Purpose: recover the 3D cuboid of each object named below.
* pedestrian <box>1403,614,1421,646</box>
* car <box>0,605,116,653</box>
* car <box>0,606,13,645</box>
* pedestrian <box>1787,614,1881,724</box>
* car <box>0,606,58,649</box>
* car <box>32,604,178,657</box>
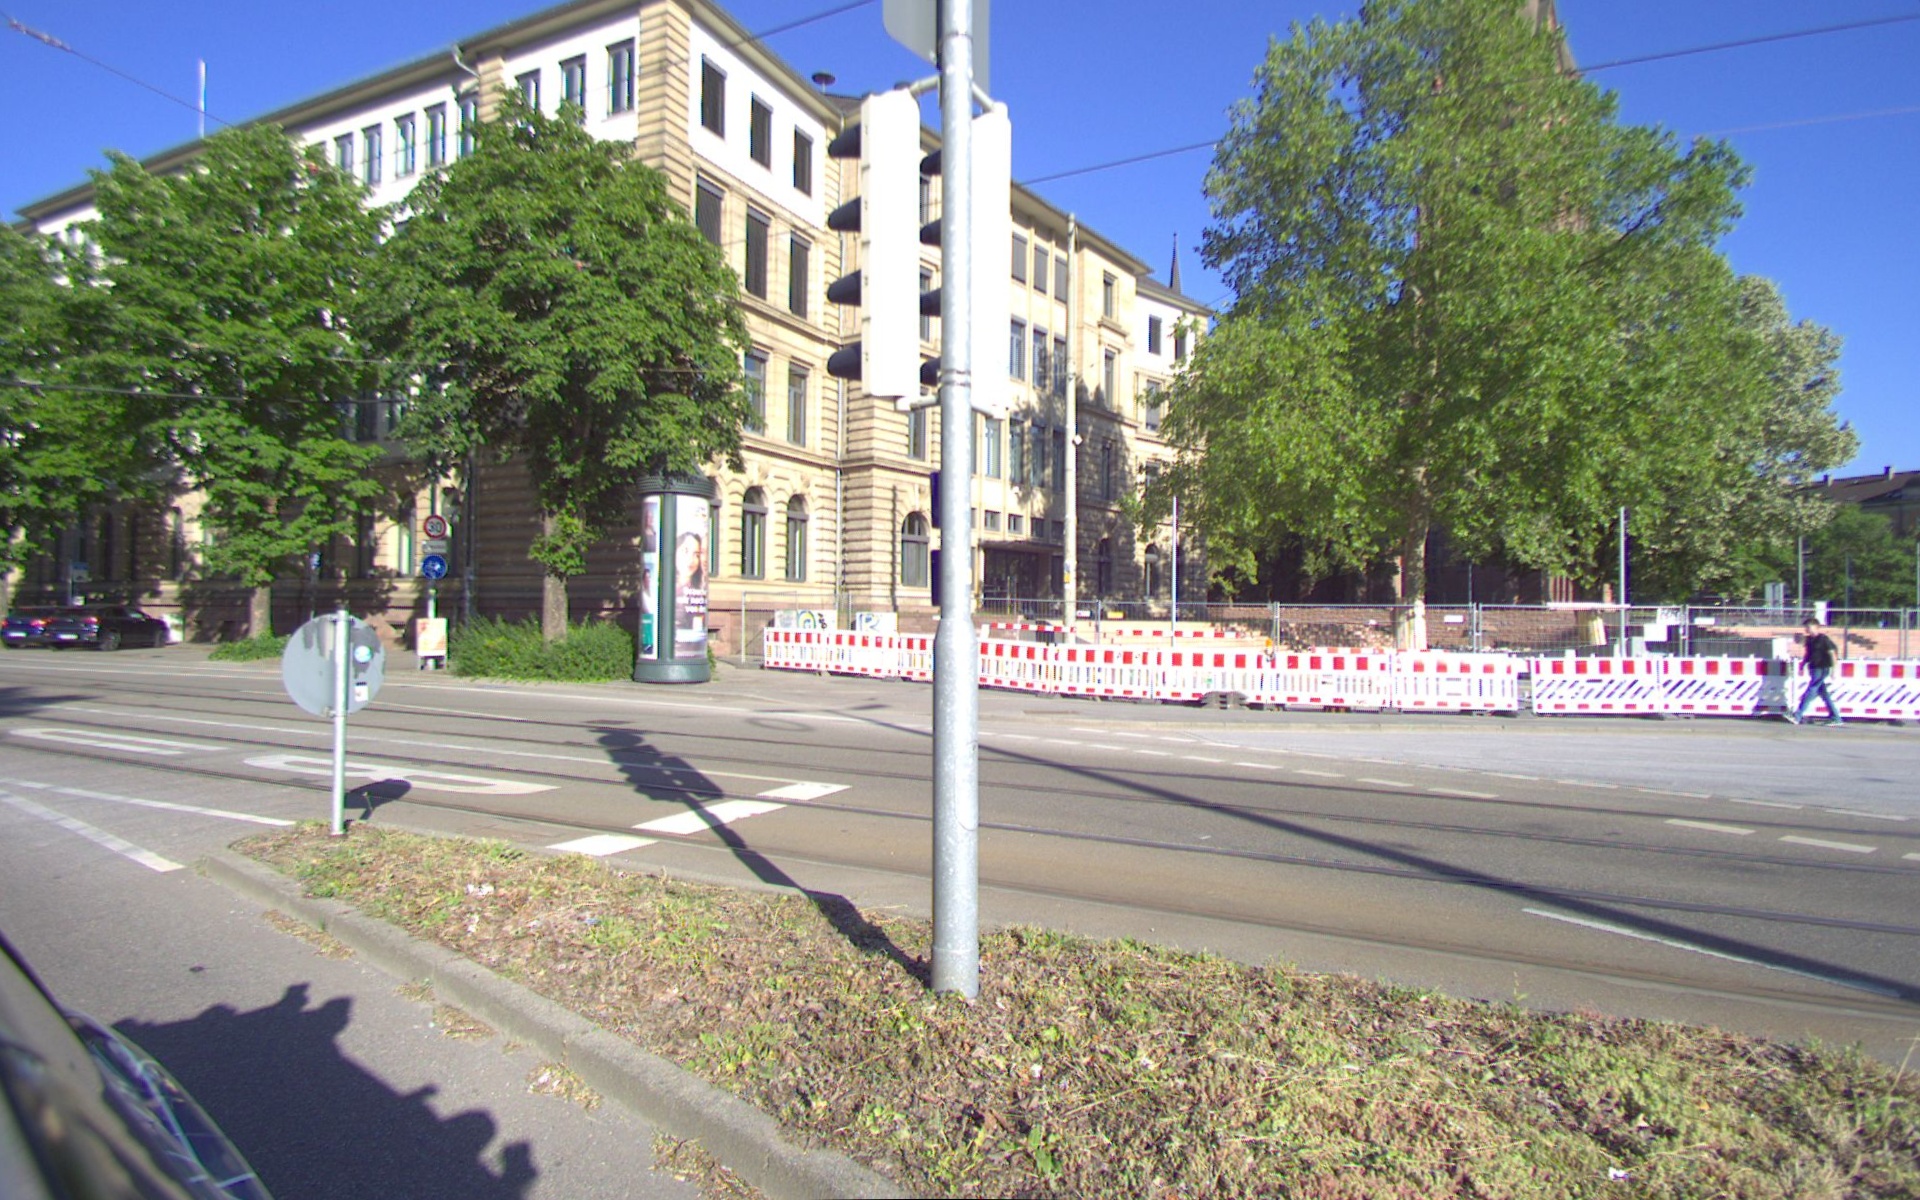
[{"bbox_3d":[23.678,1.546,53.034,0.628,1.660,0.677,1,-1,-40],"label":"pedestrian"},{"bbox_3d":[-32.006,0.978,35.730,1.624,1.572,3.655,-1,0,-6],"label":"car"},{"bbox_3d":[-39.206,1.047,39.337,1.624,1.572,3.655,-1,0,-6],"label":"car"},{"bbox_3d":[14.350,1.115,16.640,0.891,1.710,0.708,2,-2,11],"label":"pedestrian"},{"bbox_3d":[-36.858,1.042,38.765,1.624,1.572,3.655,-1,0,-6],"label":"car"},{"bbox_3d":[-29.325,0.985,34.886,1.817,1.643,4.187,-1,0,-6],"label":"car"}]
